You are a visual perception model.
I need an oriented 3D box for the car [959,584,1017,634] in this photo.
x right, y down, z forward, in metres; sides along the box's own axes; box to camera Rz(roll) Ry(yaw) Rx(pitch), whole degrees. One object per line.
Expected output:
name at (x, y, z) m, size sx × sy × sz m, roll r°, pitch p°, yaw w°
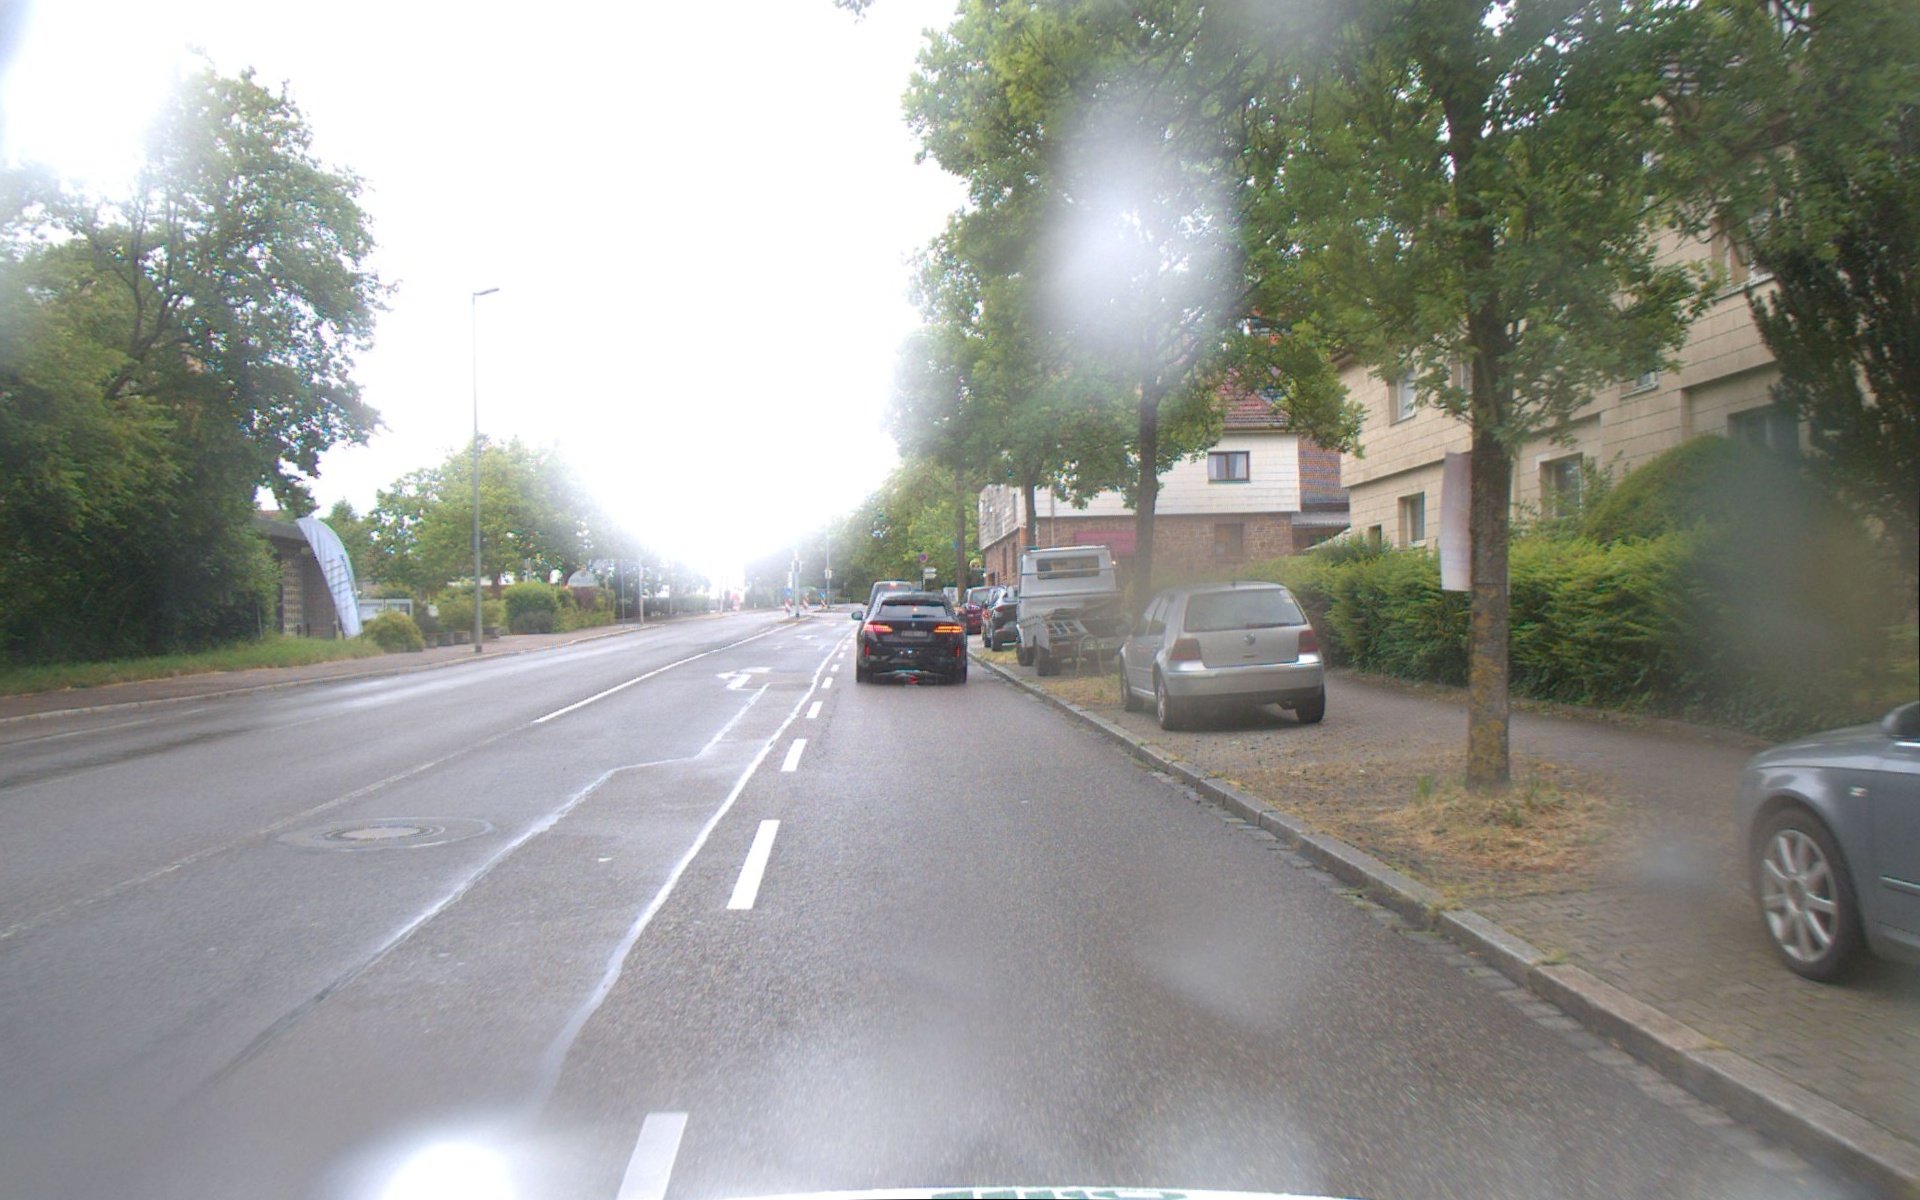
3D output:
car at (0.912, 0.285, 55.933) m, size 1.553 × 1.516 × 3.624 m, roll -4°, pitch 1°, yaw -4°

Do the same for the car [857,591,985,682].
car at (-0.763, 0.596, 29.057) m, size 2.024 × 1.472 × 4.479 m, roll 0°, pitch 0°, yaw -4°

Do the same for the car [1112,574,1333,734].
car at (2.774, 0.502, 18.289) m, size 1.569 × 1.461 × 4.020 m, roll -4°, pitch 1°, yaw -2°

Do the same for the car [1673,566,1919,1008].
car at (3.984, 0.587, 4.720) m, size 1.655 × 1.413 × 4.496 m, roll -3°, pitch 0°, yaw -4°

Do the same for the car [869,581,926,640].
car at (-2.122, 0.327, 55.092) m, size 1.748 × 1.849 × 3.997 m, roll -1°, pitch 0°, yaw -4°

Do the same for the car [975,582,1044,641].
car at (1.365, 0.297, 46.569) m, size 1.572 × 1.497 × 3.854 m, roll -4°, pitch 1°, yaw -2°

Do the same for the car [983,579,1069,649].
car at (1.557, 0.309, 40.526) m, size 1.680 × 1.524 × 4.181 m, roll -4°, pitch 0°, yaw -2°

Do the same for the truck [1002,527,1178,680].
truck at (2.133, 0.033, 29.208) m, size 2.039 × 2.260 × 6.496 m, roll -4°, pitch 0°, yaw -4°
